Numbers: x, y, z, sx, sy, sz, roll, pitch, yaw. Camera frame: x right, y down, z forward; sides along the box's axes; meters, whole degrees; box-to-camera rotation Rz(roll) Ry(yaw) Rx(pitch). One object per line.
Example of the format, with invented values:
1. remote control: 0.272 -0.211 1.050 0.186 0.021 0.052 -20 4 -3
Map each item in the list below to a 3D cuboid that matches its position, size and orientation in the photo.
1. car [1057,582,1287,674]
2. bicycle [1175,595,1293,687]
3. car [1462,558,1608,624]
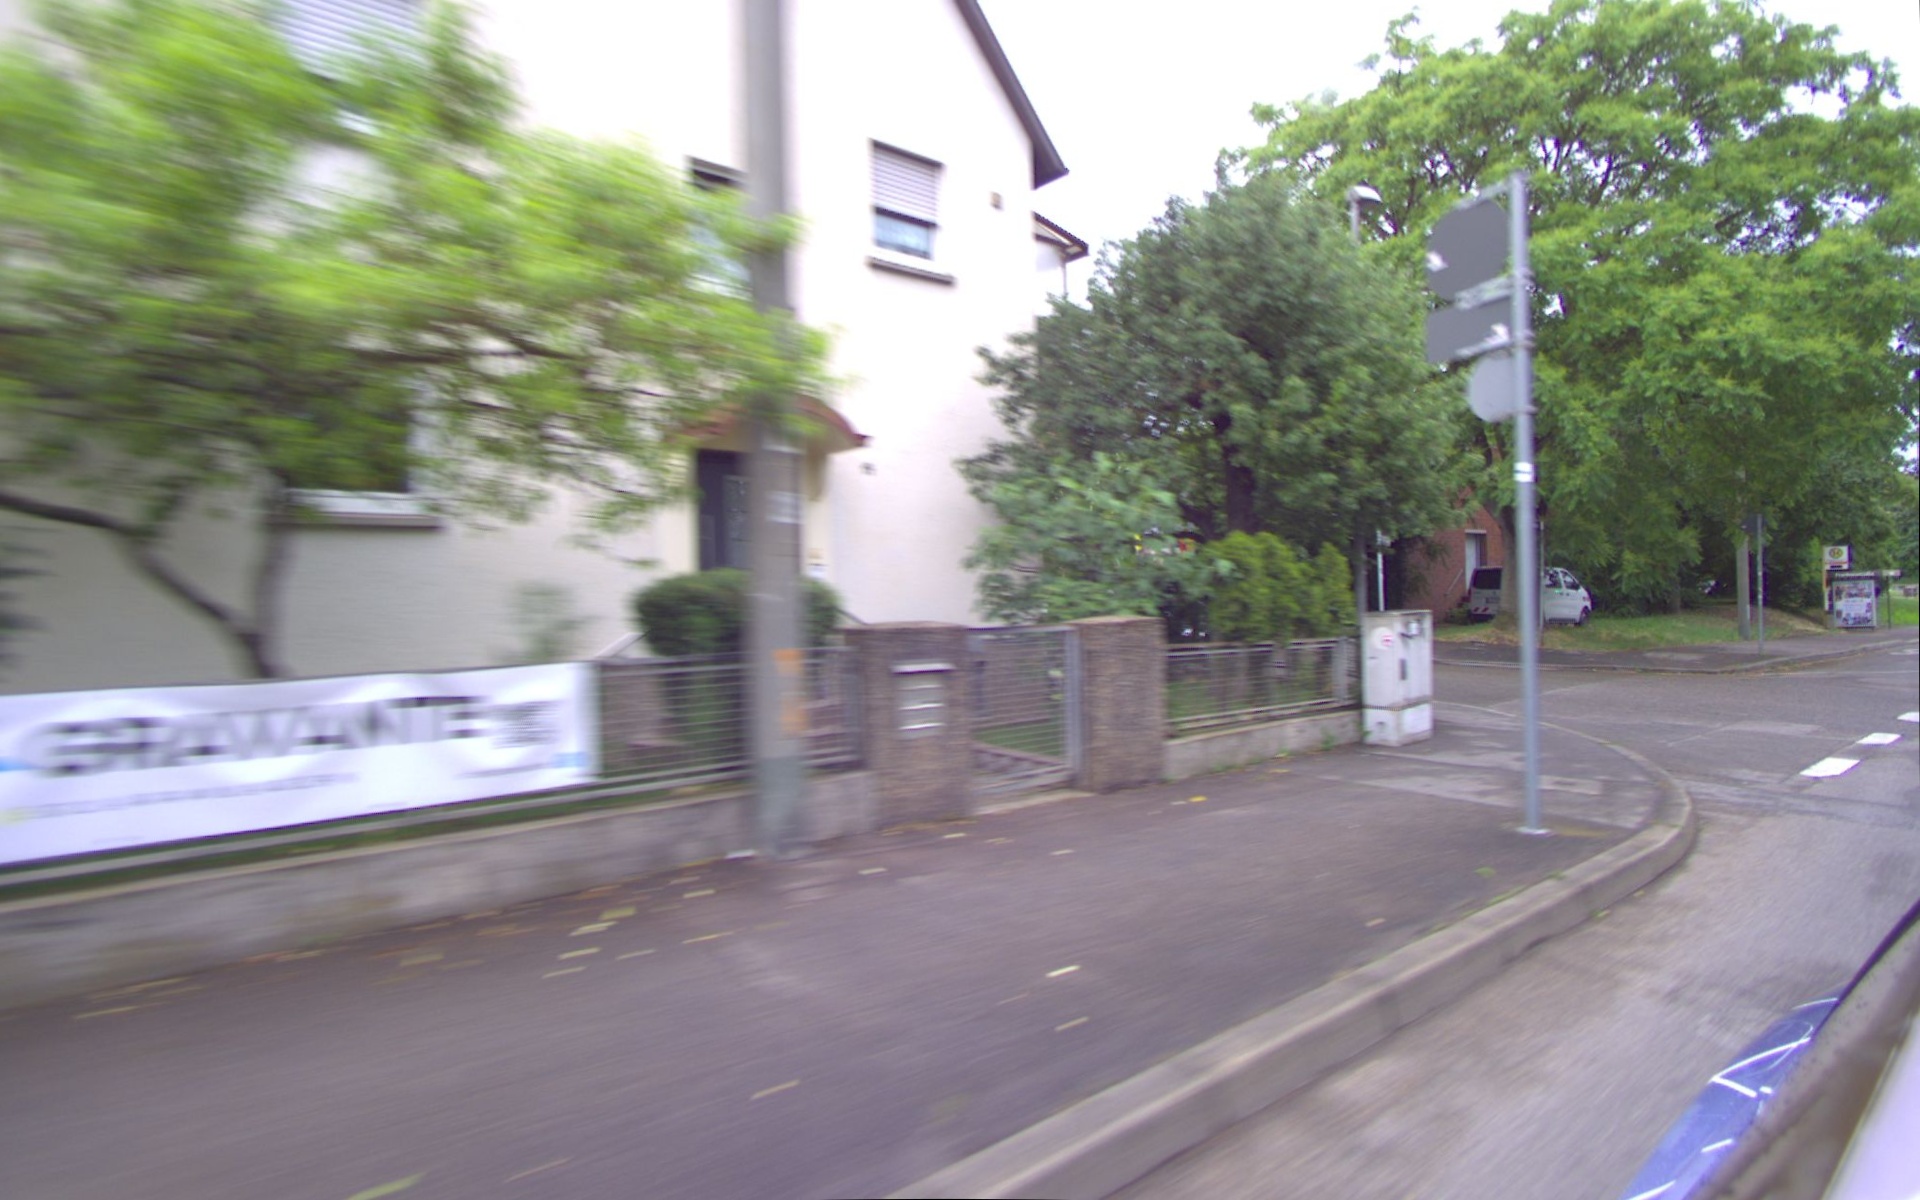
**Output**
1. car: 3.852 0.428 18.867 1.675 1.440 3.993 -2 3 -42
2. bicycle: 3.619 0.513 13.501 0.449 1.129 1.576 1 1 -36
3. car: 17.419 -0.245 30.551 5.052 1.828 1.998 0 -1 -38
